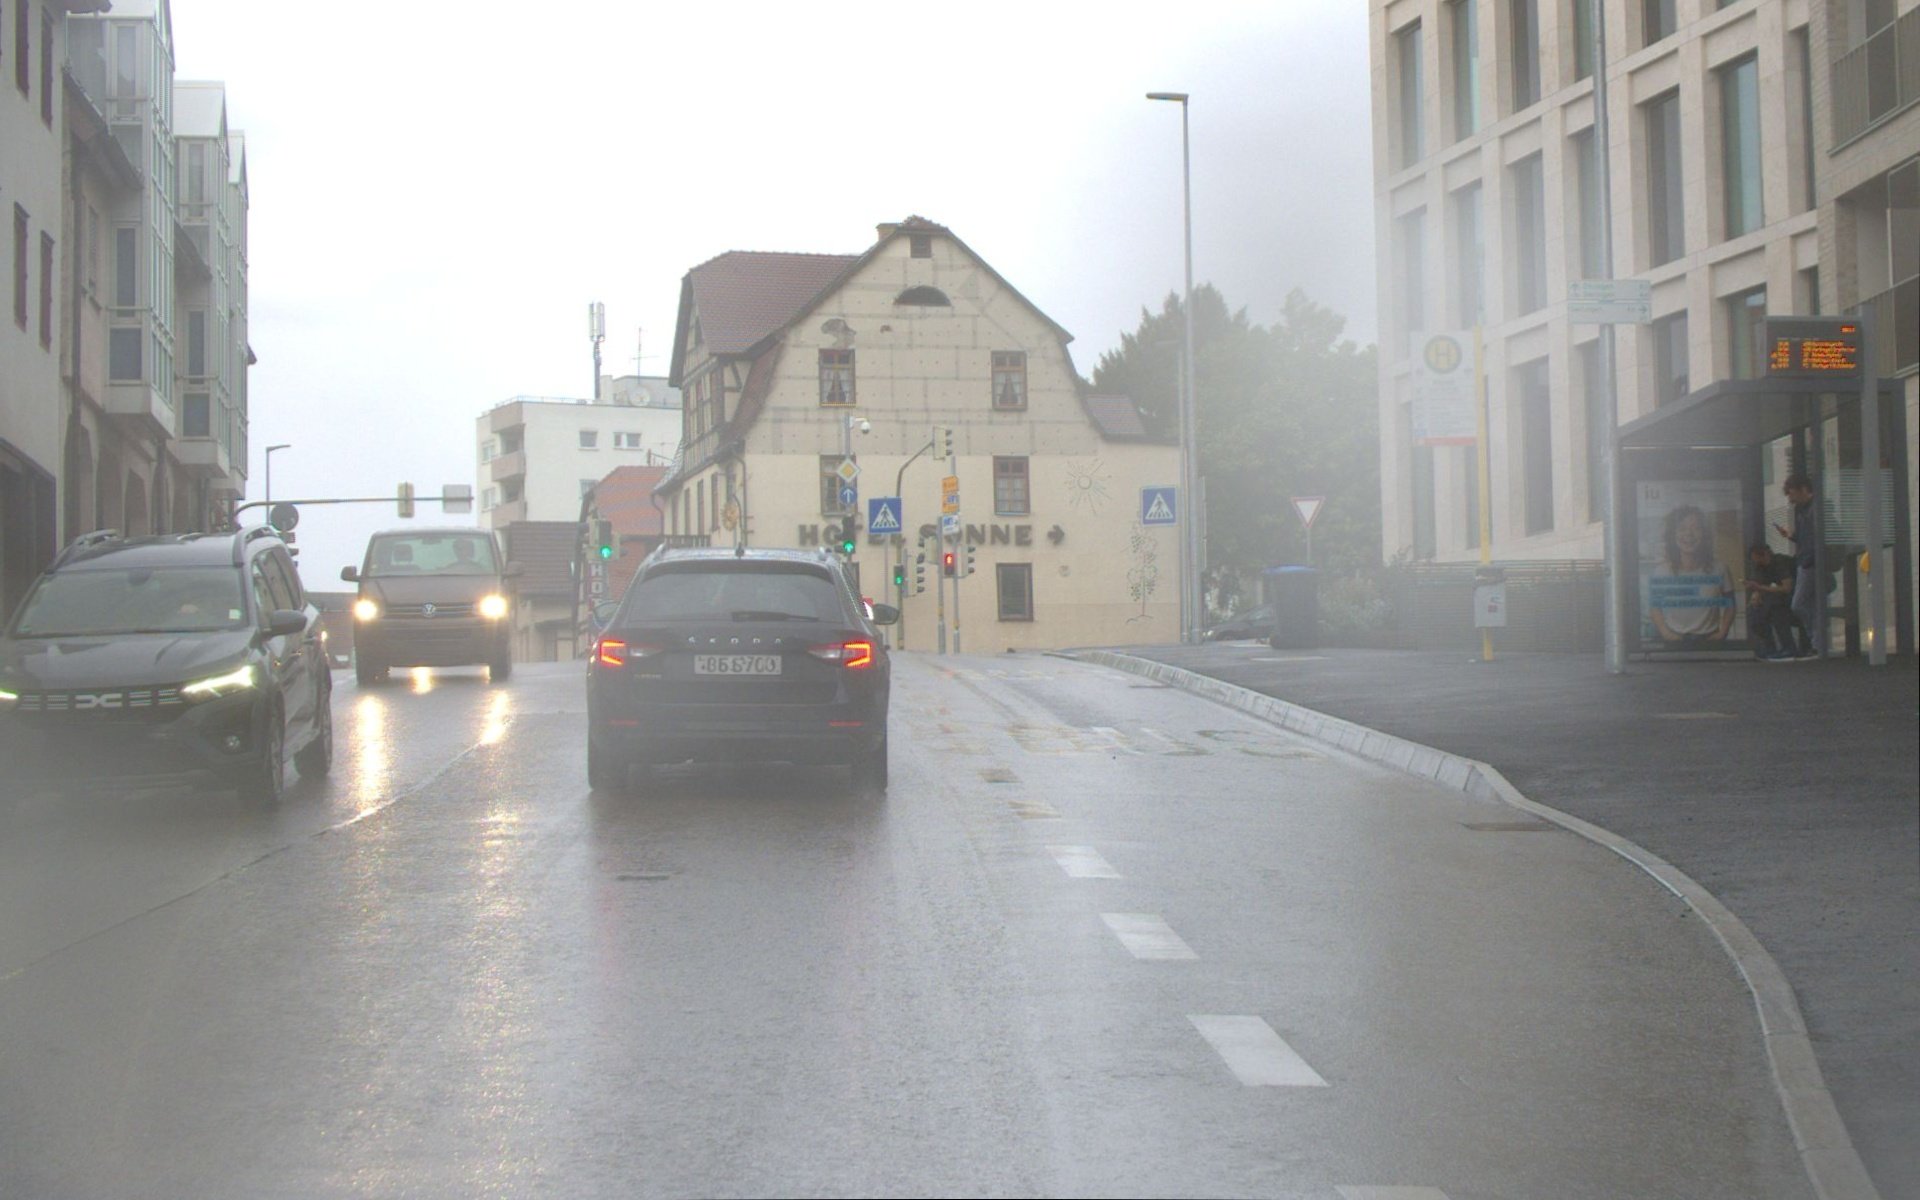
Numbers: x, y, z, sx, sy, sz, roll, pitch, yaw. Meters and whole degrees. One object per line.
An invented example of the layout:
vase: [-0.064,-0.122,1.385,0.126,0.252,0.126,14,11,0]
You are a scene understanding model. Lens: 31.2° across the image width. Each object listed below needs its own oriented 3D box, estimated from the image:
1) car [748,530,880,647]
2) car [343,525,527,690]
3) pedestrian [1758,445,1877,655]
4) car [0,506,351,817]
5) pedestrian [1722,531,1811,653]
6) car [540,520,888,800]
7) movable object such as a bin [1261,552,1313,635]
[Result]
car: [-2.008,-0.176,46.557,1.677,1.505,3.589,-1,1,-4]
car: [-6.616,0.056,43.796,1.931,1.901,5.044,-2,1,-5]
pedestrian: [8.128,-0.471,32.633,0.782,1.933,1.021,-2,0,-1]
car: [-4.876,0.308,21.105,1.782,1.688,4.460,-1,1,-4]
pedestrian: [7.965,-0.082,33.973,0.672,1.158,0.635,-2,0,-1]
car: [-1.538,0.307,21.631,1.944,1.561,4.418,-1,1,-4]
movable object such as a bin: [4.278,-0.089,45.029,0.595,1.058,0.579,-1,0,-2]
